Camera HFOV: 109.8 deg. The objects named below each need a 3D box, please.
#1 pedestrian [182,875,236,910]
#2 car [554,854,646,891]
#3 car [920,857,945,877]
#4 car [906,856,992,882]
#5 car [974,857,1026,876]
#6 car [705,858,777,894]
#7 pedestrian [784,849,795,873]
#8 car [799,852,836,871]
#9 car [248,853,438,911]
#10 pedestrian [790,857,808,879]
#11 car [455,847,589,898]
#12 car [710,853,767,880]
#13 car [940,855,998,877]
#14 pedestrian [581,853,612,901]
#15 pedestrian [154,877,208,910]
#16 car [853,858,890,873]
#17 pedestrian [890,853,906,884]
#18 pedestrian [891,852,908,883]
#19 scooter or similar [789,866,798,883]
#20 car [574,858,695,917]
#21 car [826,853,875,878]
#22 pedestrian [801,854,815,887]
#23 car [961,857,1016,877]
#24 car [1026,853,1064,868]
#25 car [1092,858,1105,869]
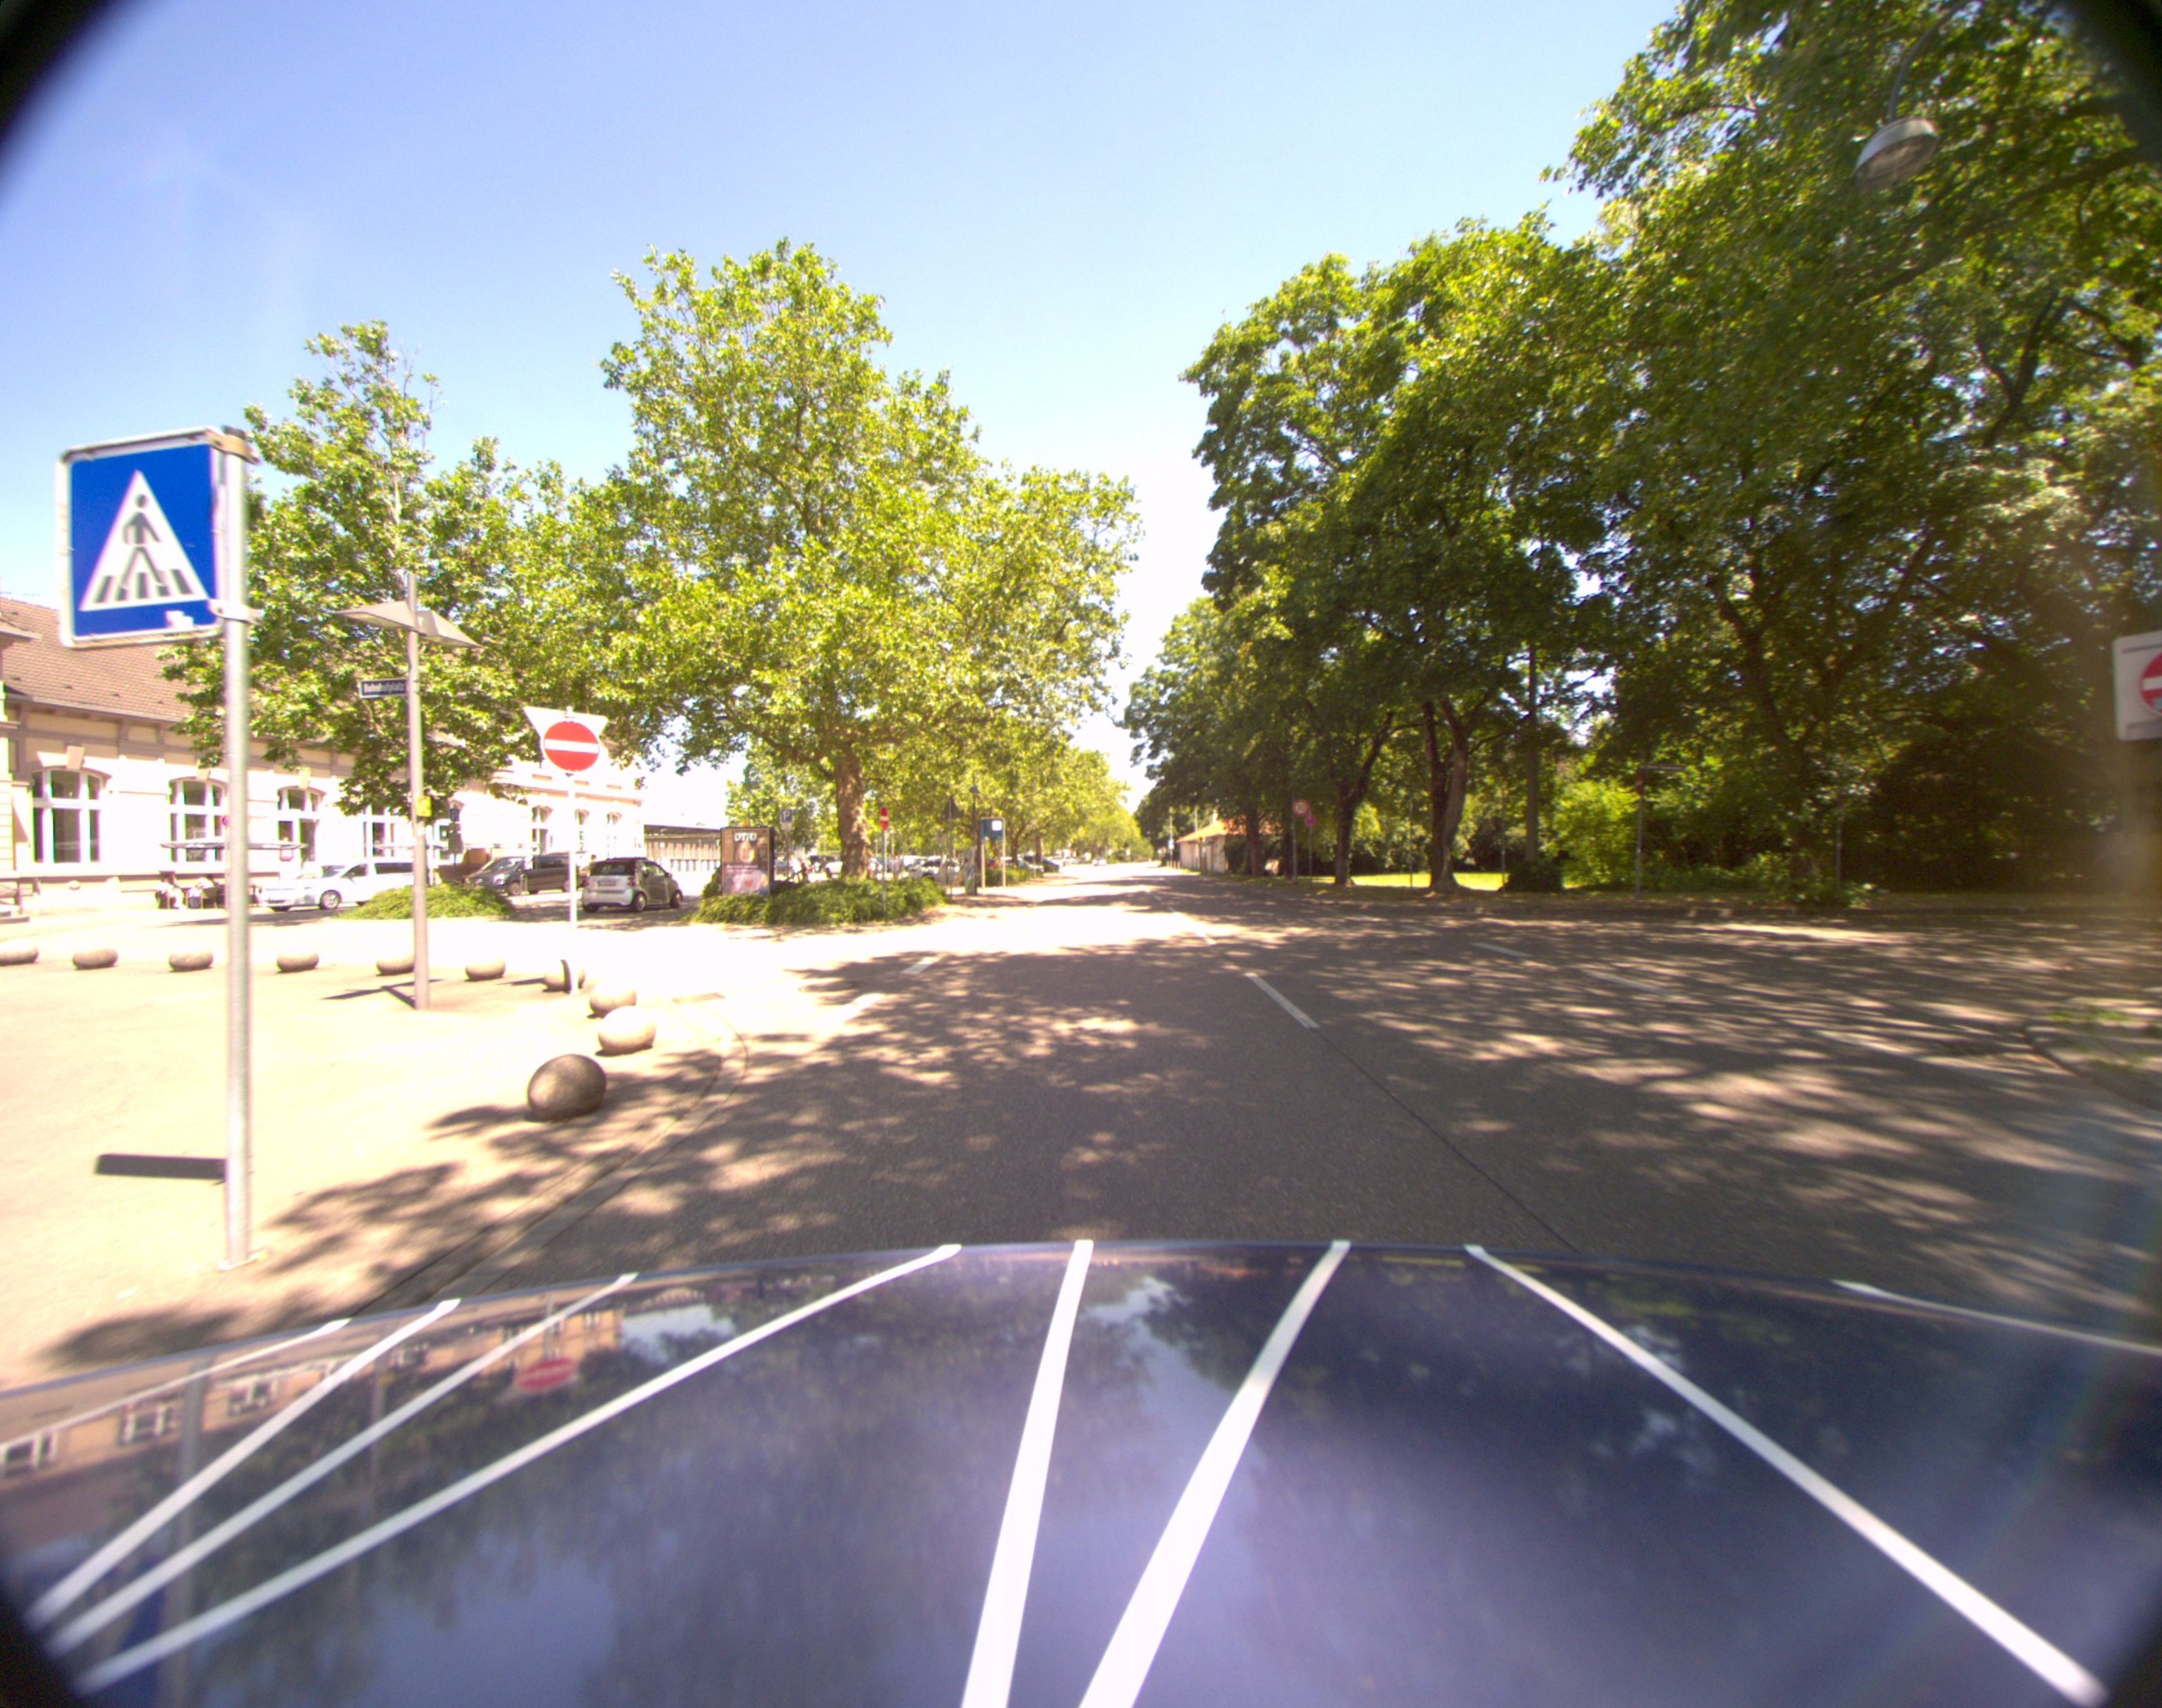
[{"bbox_3d":[-30.361,1.326,26.466,0.881,1.155,0.851,1,0,-2],"label":"pedestrian"},{"bbox_3d":[-26.020,0.956,41.352,2.080,1.829,4.839,-2,0,-3],"label":"car"},{"bbox_3d":[-14.643,1.238,74.813,1.740,1.882,3.993,-1,0,-21],"label":"car"},{"bbox_3d":[-7.783,0.841,44.647,4.781,1.408,1.784,-1,1,-17],"label":"car"},{"bbox_3d":[-6.633,0.992,62.271,3.882,1.452,1.633,-1,0,-26],"label":"car"},{"bbox_3d":[-17.180,1.055,38.240,1.804,1.534,4.516,-3,3,-44],"label":"car"},{"bbox_3d":[-25.148,0.604,65.550,0.628,1.978,0.617,-3,1,-3],"label":"pedestrian"},{"bbox_3d":[-26.665,0.723,77.152,1.998,1.779,4.247,-3,1,3],"label":"car"},{"bbox_3d":[-26.405,0.957,27.516,1.814,1.854,5.139,-2,0,0],"label":"car"},{"bbox_3d":[-18.110,0.894,48.807,0.689,1.416,0.803,0,1,43],"label":"pedestrian"},{"bbox_3d":[-25.699,0.831,35.275,2.092,2.111,5.824,-2,0,-3],"label":"car"},{"bbox_3d":[-25.315,0.874,56.339,2.003,1.829,5.316,-3,0,-3],"label":"car"},{"bbox_3d":[-8.141,0.848,55.176,3.882,1.452,1.633,-1,0,-26],"label":"car"},{"bbox_3d":[-17.697,0.837,27.747,0.775,1.707,0.812,-1,1,-45],"label":"pedestrian"},{"bbox_3d":[-31.302,1.361,26.442,0.881,1.073,0.851,1,0,-2],"label":"pedestrian"},{"bbox_3d":[-20.166,1.103,73.015,3.503,1.395,1.807,-1,0,42],"label":"car"},{"bbox_3d":[-10.556,0.804,43.897,0.839,1.760,0.850,-1,1,-17],"label":"pedestrian"},{"bbox_3d":[-10.245,0.750,42.907,0.839,1.760,0.850,-1,1,-18],"label":"pedestrian"},{"bbox_3d":[-18.593,1.305,49.124,0.402,1.095,0.439,0,1,43],"label":"scooter or similar"},{"bbox_3d":[-13.095,0.942,22.490,1.600,1.584,3.107,-1,0,3],"label":"car"},{"bbox_3d":[-16.705,0.780,54.980,1.804,1.596,4.051,-3,3,-43],"label":"car"},{"bbox_3d":[-13.172,0.788,36.638,0.590,1.539,0.609,0,1,-23],"label":"pedestrian"},{"bbox_3d":[-7.136,0.967,58.815,3.882,1.452,1.633,-1,0,-26],"label":"car"},{"bbox_3d":[-3.820,0.656,80.183,3.877,1.452,1.635,-1,0,-11],"label":"car"},{"bbox_3d":[2.590,1.387,109.769,1.660,1.368,3.452,-4,0,3],"label":"car"}]
